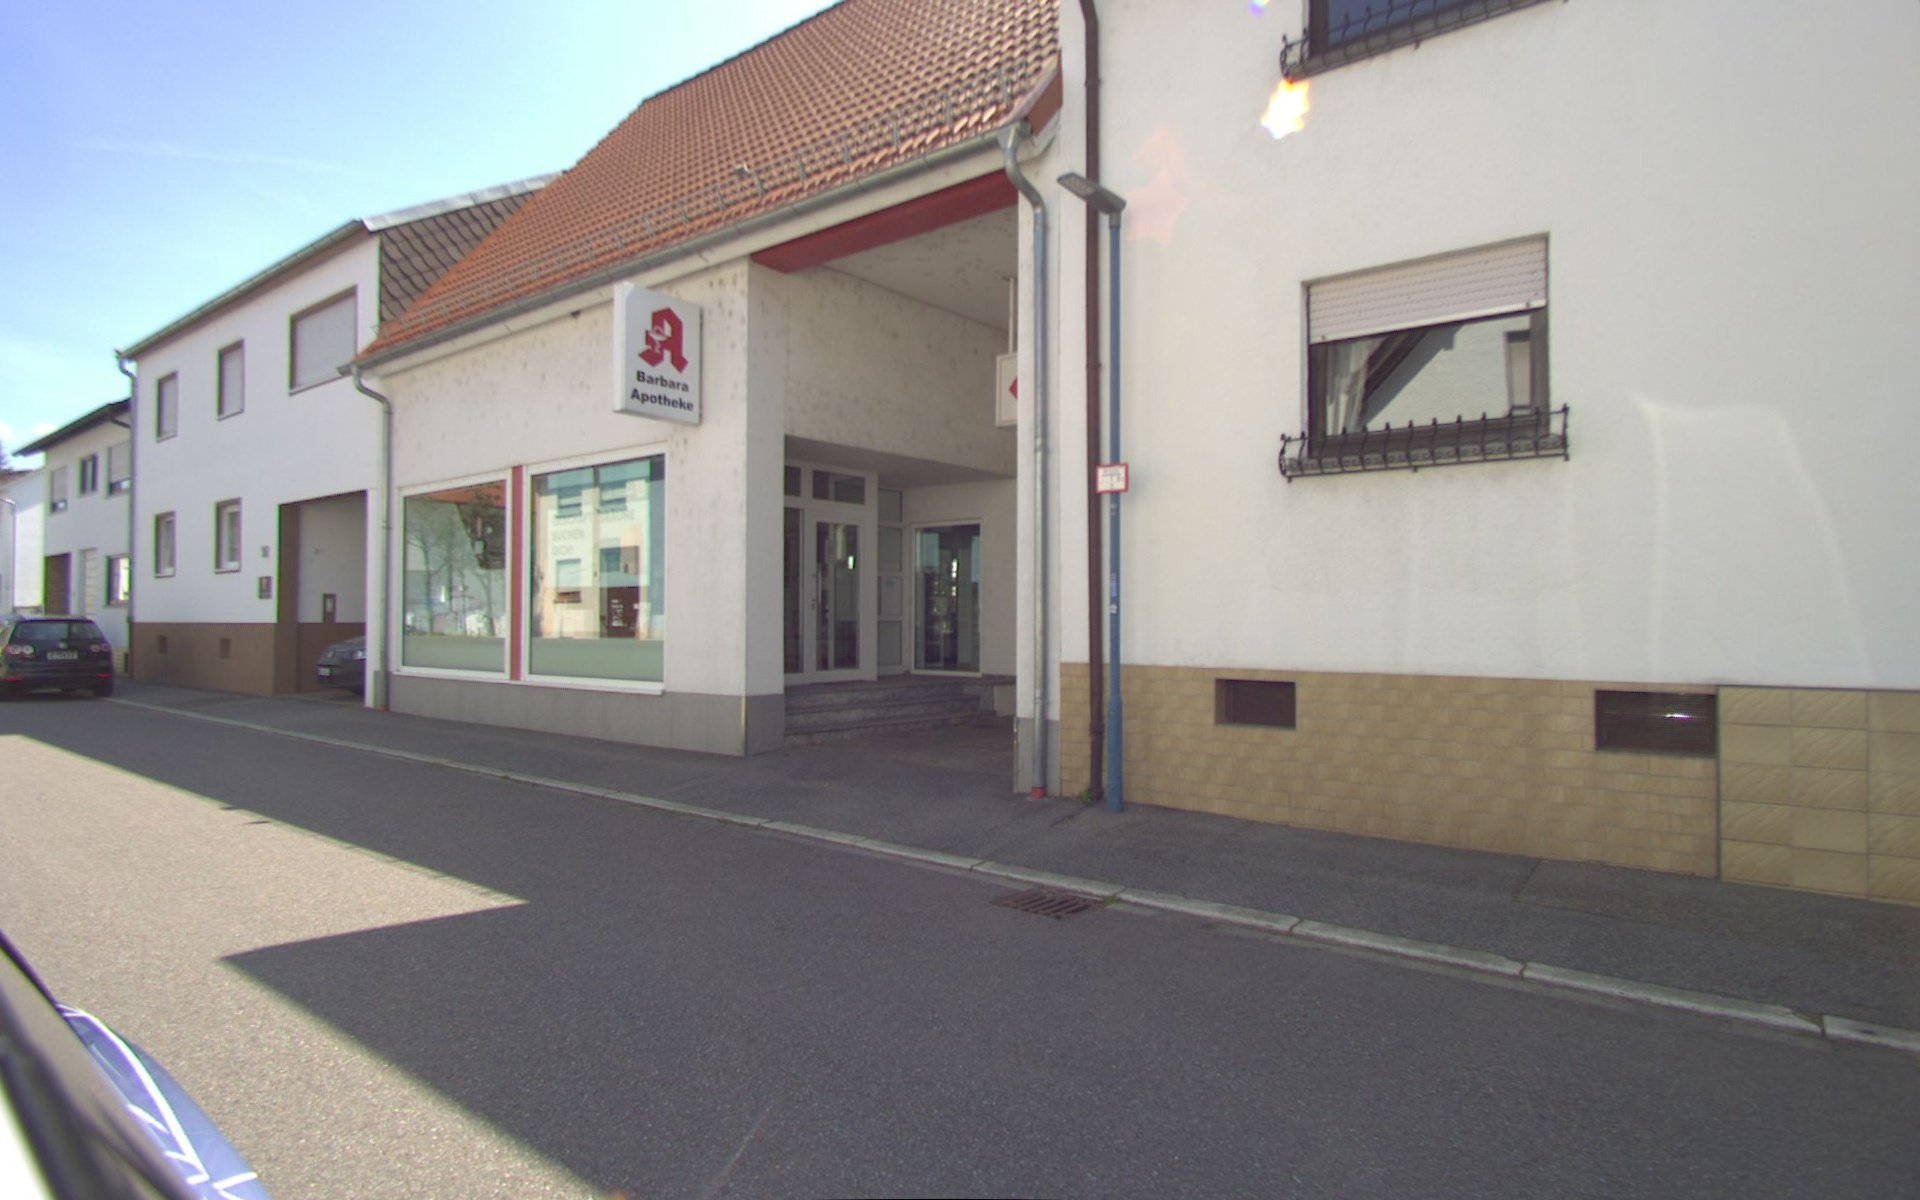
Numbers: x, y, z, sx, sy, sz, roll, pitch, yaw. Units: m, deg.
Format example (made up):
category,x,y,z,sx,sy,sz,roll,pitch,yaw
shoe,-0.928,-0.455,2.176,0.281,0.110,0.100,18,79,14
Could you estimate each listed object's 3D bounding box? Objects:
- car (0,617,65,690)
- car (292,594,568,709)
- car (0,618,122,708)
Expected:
category,x,y,z,sx,sy,sz,roll,pitch,yaw
car,-23.087,1.238,24.241,4.115,1.630,1.737,-1,-2,38
car,-9.331,0.818,18.067,1.812,1.731,3.948,-1,0,39
car,-17.909,1.146,19.569,3.947,1.578,1.732,-1,-2,37
